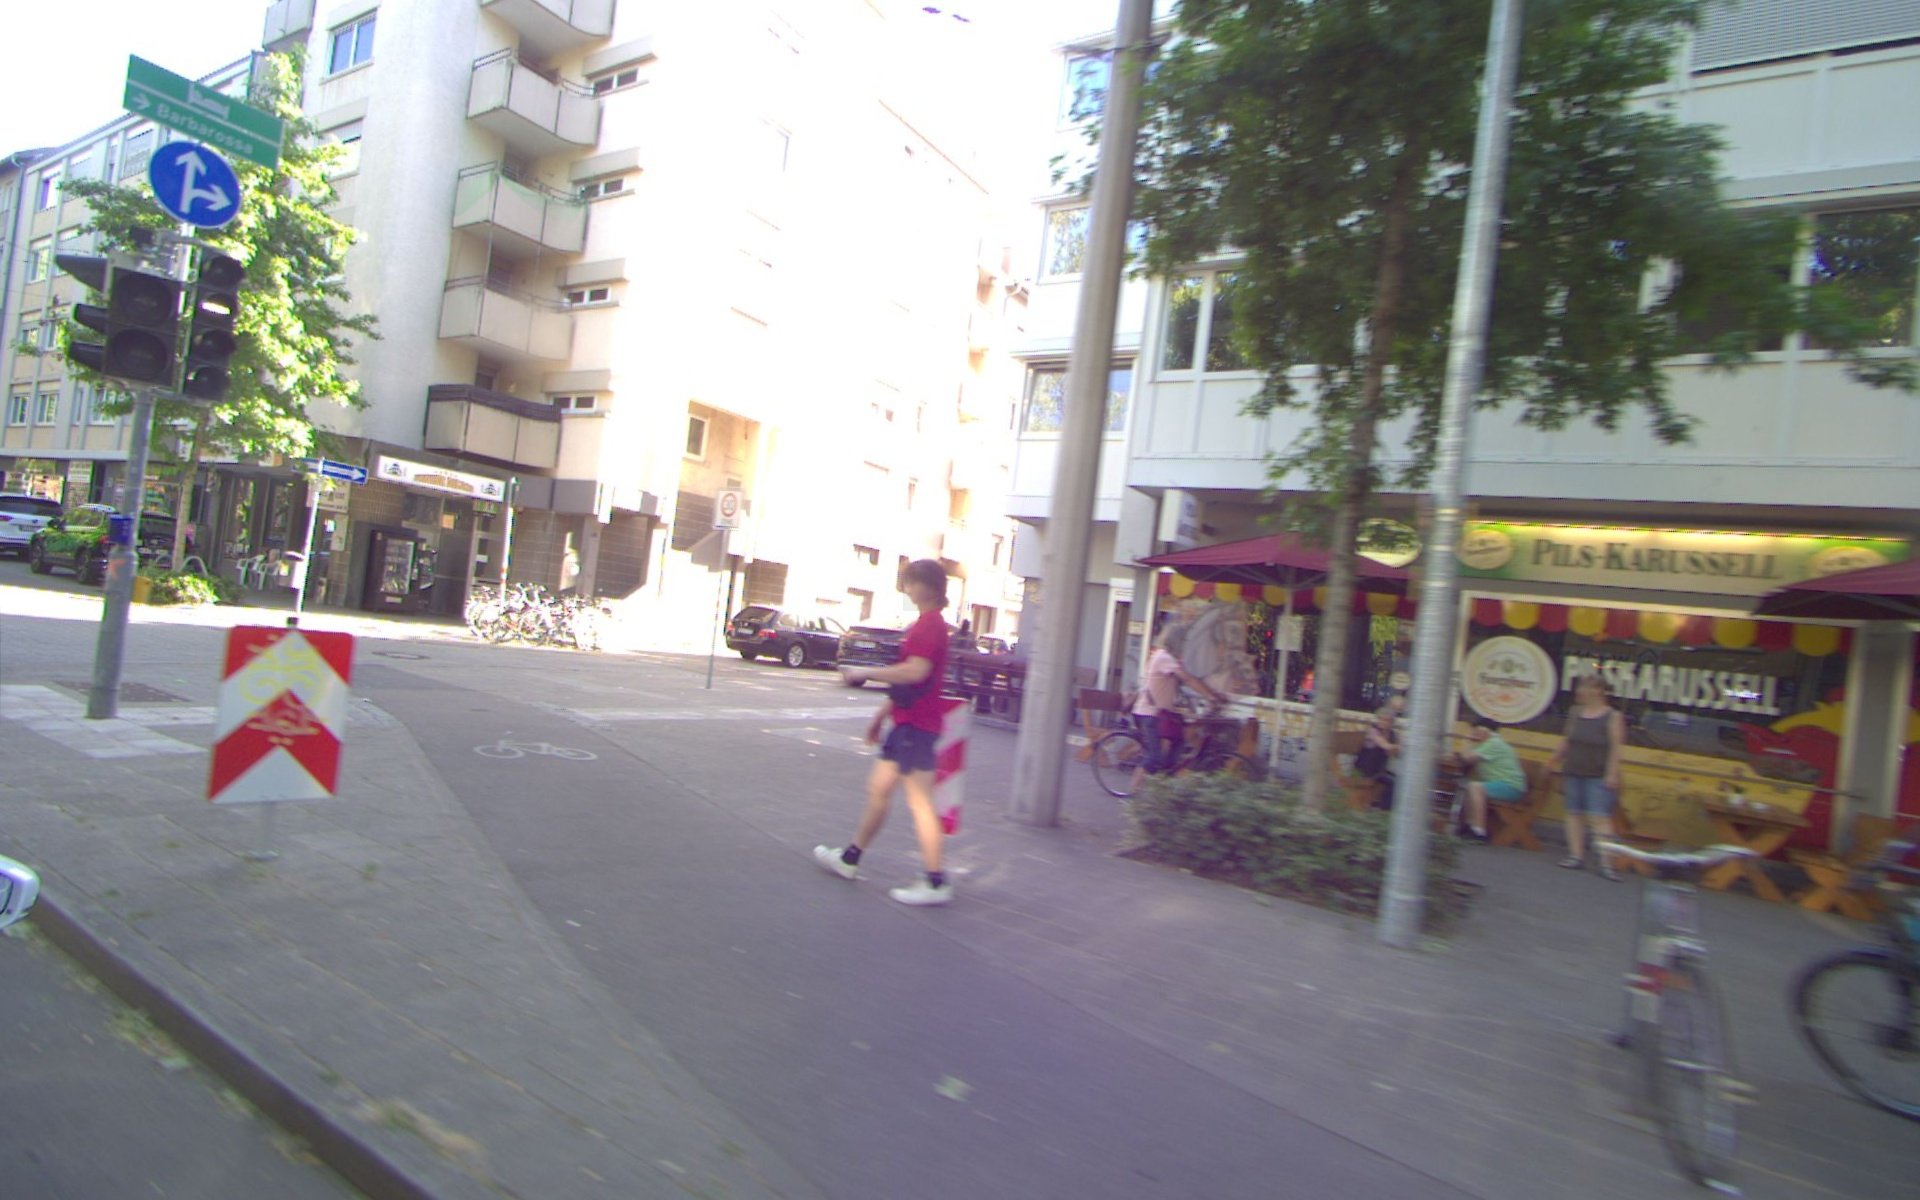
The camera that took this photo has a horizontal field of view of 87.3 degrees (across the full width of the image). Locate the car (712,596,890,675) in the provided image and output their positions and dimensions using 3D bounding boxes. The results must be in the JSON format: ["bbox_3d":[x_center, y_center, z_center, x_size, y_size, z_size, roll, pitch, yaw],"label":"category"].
[{"bbox_3d":[-4.037,0.982,26.310,1.841,1.495,4.590,9,0,34],"label":"car"}]

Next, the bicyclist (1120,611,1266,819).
[{"bbox_3d":[2.166,1.046,9.342,0.950,1.737,0.677,6,-2,36],"label":"bicyclist"}]

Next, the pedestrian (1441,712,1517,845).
[{"bbox_3d":[5.121,1.734,9.919,0.513,1.188,0.660,6,-2,31],"label":"pedestrian"}]

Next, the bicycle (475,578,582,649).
[{"bbox_3d":[-8.548,0.286,20.004,0.502,1.222,1.918,8,0,30],"label":"bicycle"}]

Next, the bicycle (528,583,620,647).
[{"bbox_3d":[-8.606,0.361,22.519,0.502,1.221,1.919,6,-3,30],"label":"bicycle"}]

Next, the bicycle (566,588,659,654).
[{"bbox_3d":[-7.529,0.483,21.887,0.502,1.221,1.919,8,-1,30],"label":"bicycle"}]

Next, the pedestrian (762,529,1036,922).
[{"bbox_3d":[-0.281,0.620,5.343,1.028,1.778,0.879,7,-2,14],"label":"pedestrian"}]

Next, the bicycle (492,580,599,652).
[{"bbox_3d":[-8.095,0.341,19.755,0.502,1.222,1.918,8,0,30],"label":"bicycle"}]

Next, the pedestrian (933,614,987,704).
[{"bbox_3d":[-0.003,1.101,18.787,0.635,1.579,0.551,5,-3,38],"label":"pedestrian"}]

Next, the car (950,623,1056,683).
[{"bbox_3d":[1.573,1.885,35.177,1.806,1.640,4.069,6,-3,32],"label":"car"}]

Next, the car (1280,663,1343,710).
[{"bbox_3d":[18.044,4.457,51.505,1.713,1.968,4.216,6,-3,37],"label":"car"}]

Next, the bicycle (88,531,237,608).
[{"bbox_3d":[-15.766,-0.584,19.944,0.671,1.201,2.125,6,-3,41],"label":"bicycle"}]

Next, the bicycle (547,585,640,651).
[{"bbox_3d":[-8.048,0.415,22.186,0.502,1.221,1.919,6,-3,30],"label":"bicycle"}]

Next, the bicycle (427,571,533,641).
[{"bbox_3d":[-9.907,0.153,20.859,0.502,1.221,1.919,6,-3,30],"label":"bicycle"}]

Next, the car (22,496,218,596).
[{"bbox_3d":[-18.264,-1.191,21.824,4.374,1.634,1.996,6,-2,34],"label":"car"}]

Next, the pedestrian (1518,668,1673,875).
[{"bbox_3d":[5.669,1.514,8.999,0.803,1.678,0.677,8,-2,-19],"label":"pedestrian"}]

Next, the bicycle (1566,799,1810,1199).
[{"bbox_3d":[2.593,1.337,3.733,0.473,1.005,1.820,6,-3,31],"label":"bicycle"}]

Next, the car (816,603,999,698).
[{"bbox_3d":[-1.004,1.159,21.685,1.933,1.610,4.262,5,-3,27],"label":"car"}]

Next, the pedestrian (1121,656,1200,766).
[{"bbox_3d":[2.595,1.436,13.016,0.704,1.302,0.536,6,-2,35],"label":"pedestrian"}]

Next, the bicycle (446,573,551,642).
[{"bbox_3d":[-9.422,0.182,20.619,0.502,1.222,1.918,7,-1,30],"label":"bicycle"}]

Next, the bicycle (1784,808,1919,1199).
[{"bbox_3d":[3.445,1.382,3.402,0.489,1.112,1.822,7,-3,25],"label":"bicycle"}]

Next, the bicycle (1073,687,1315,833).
[{"bbox_3d":[2.135,1.437,9.323,1.991,0.974,0.677,6,-2,36],"label":"bicycle"}]

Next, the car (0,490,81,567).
[{"bbox_3d":[-24.286,-1.910,25.519,4.344,1.624,1.802,6,-3,34],"label":"car"}]

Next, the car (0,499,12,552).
[{"bbox_3d":[-28.849,-2.346,28.626,4.179,1.456,1.747,6,-3,34],"label":"car"}]

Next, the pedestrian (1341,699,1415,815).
[{"bbox_3d":[4.364,1.622,10.490,0.513,1.091,0.643,6,-2,31],"label":"pedestrian"}]

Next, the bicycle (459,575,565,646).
[{"bbox_3d":[-8.995,0.236,20.277,0.502,1.222,1.918,7,-1,30],"label":"bicycle"}]
